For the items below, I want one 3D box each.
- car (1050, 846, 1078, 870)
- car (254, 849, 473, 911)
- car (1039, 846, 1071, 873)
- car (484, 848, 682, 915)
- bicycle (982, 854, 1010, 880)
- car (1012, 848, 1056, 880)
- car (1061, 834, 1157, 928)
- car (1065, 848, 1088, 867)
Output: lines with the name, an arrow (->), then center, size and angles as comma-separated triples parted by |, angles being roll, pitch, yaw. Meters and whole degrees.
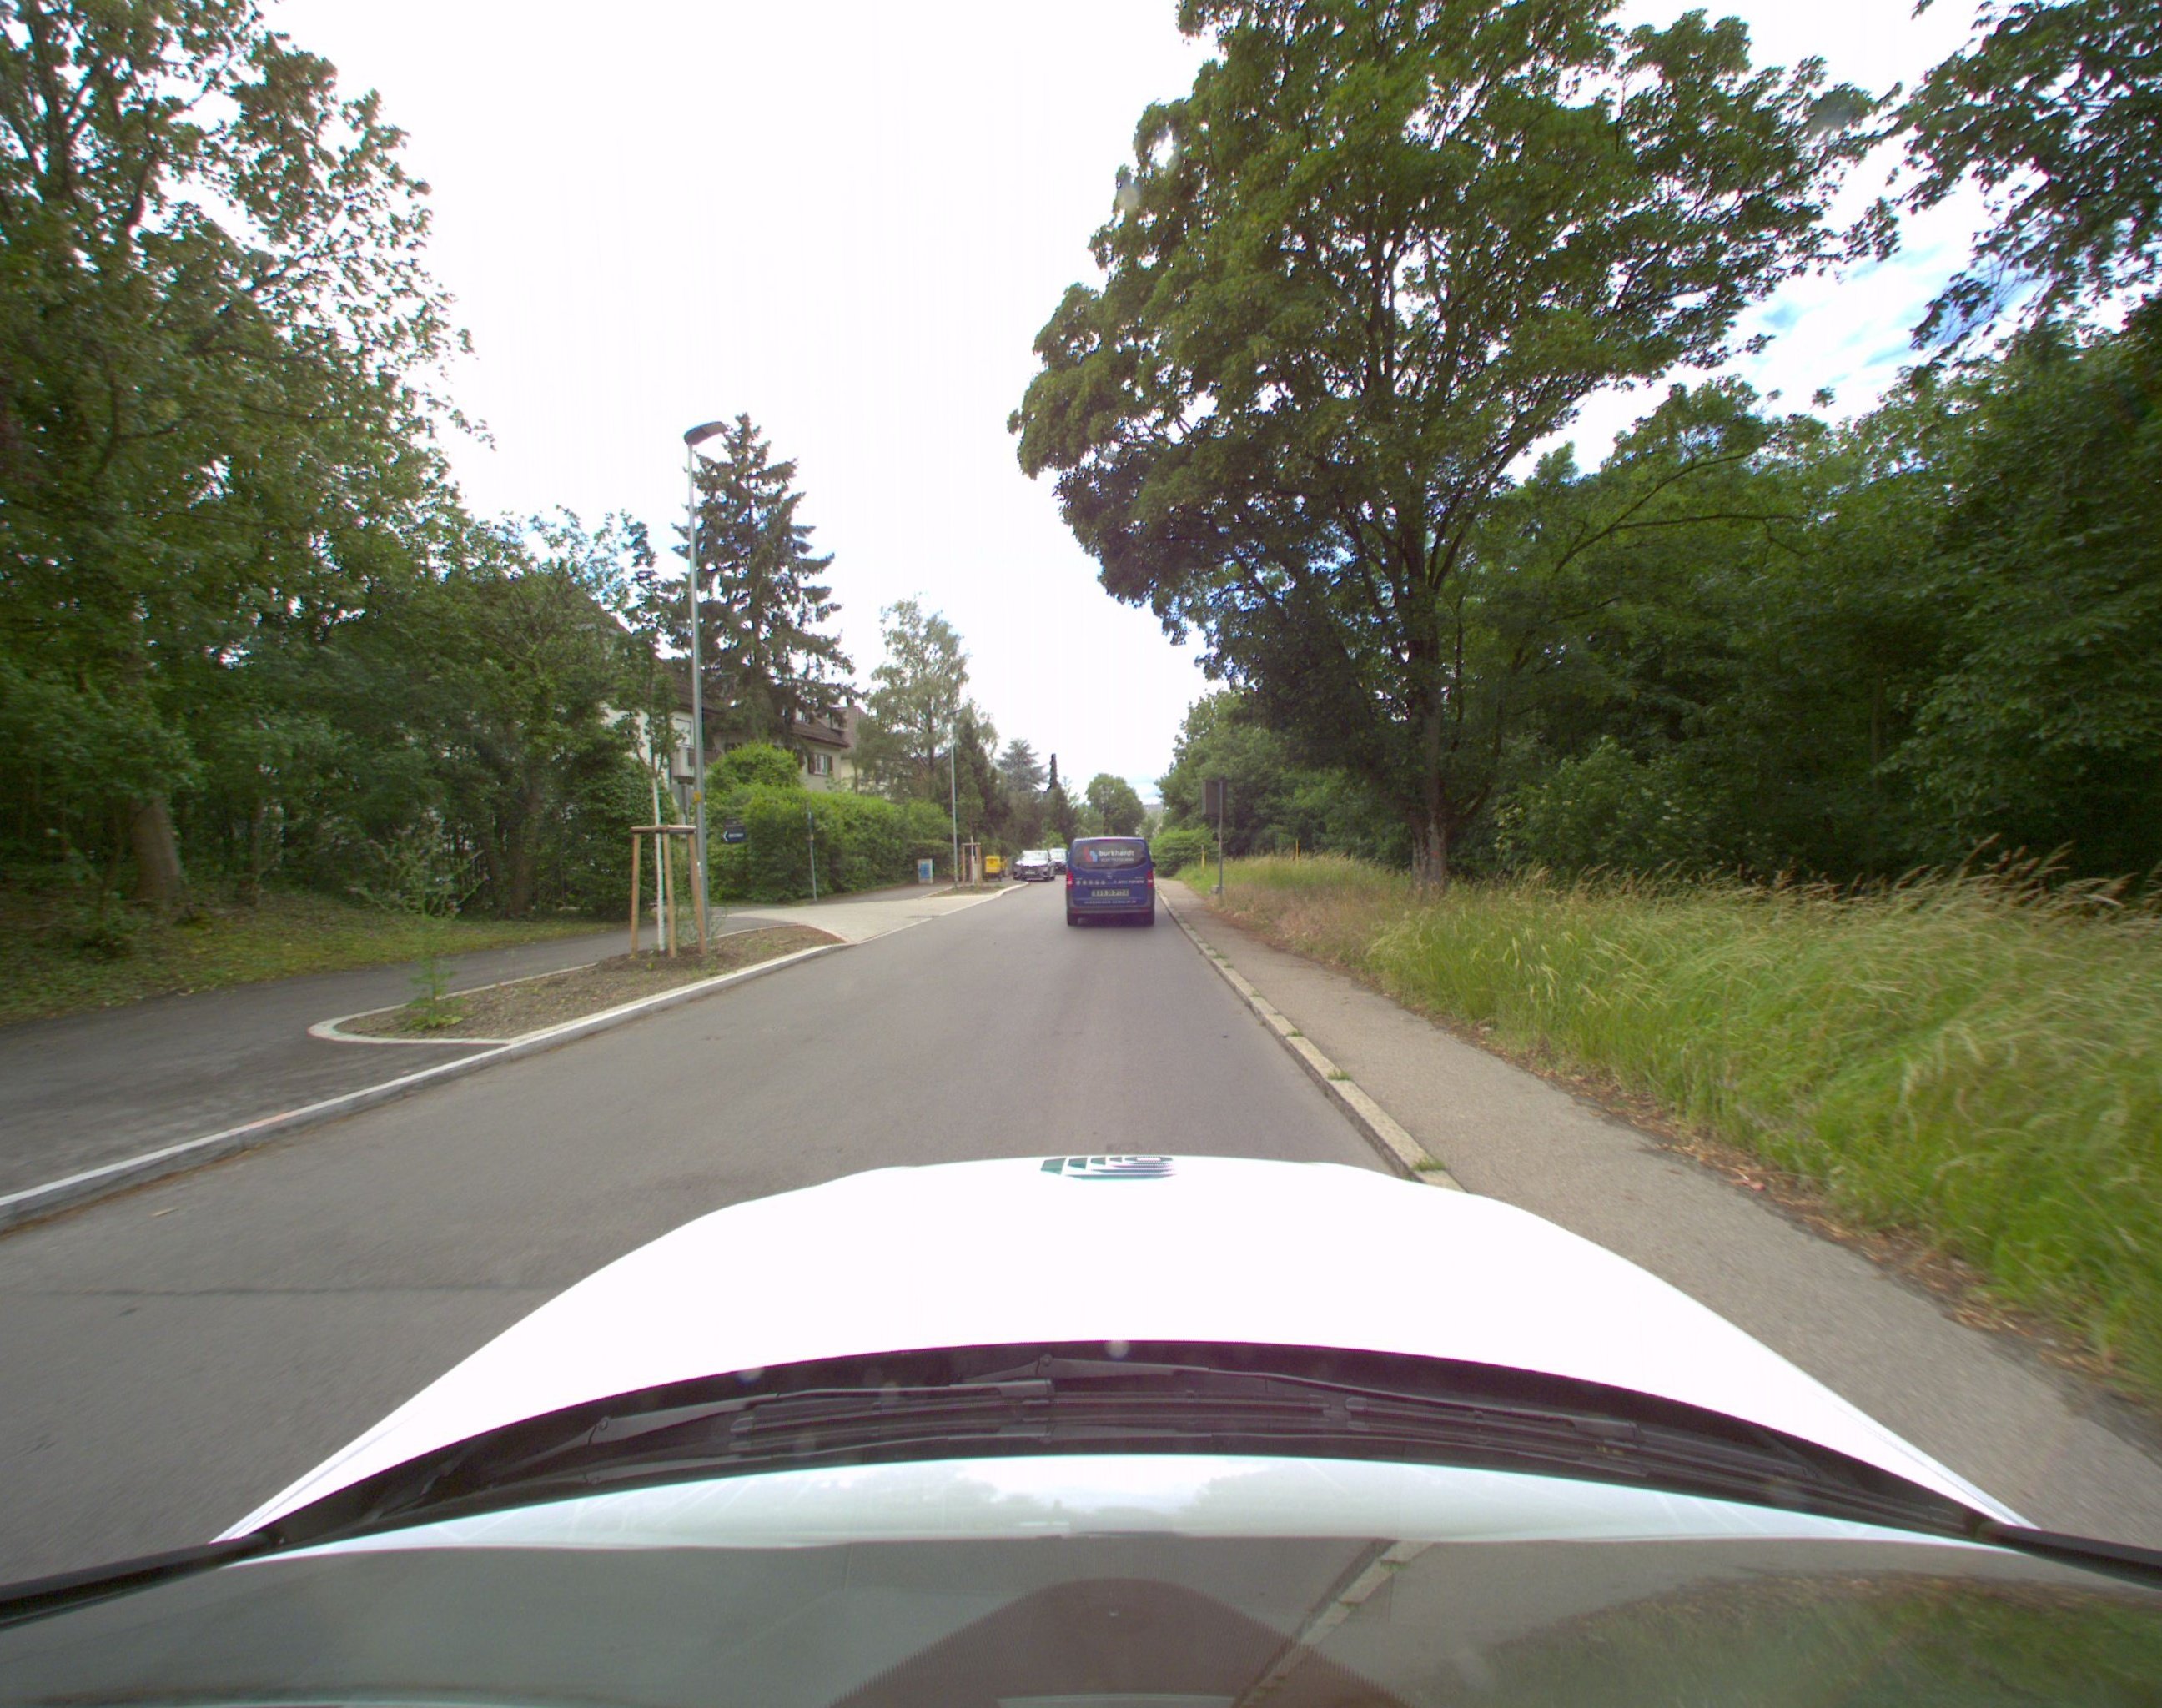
car -> -1.270, 0.329, 62.579 | 1.824, 1.804, 4.002 | -1, 0, 2
car -> -18.407, 0.629, 21.038 | 3.973, 1.494, 1.868 | 1, 0, 0
car -> -1.753, 0.335, 56.422 | 1.824, 1.751, 4.004 | 0, 1, 4
car -> -12.691, 0.659, 20.907 | 3.968, 1.593, 1.871 | 1, 0, 4
bicycle -> -4.210, 0.635, 40.667 | 0.902, 1.252, 2.919 | 1, 0, 4
car -> -2.456, 0.480, 43.528 | 1.828, 1.631, 4.305 | 0, 0, 4
car -> 0.558, 0.506, 18.336 | 1.883, 1.844, 3.999 | -1, 1, 0
car -> -0.374, 0.296, 78.046 | 1.883, 1.692, 4.554 | 0, 2, 4
